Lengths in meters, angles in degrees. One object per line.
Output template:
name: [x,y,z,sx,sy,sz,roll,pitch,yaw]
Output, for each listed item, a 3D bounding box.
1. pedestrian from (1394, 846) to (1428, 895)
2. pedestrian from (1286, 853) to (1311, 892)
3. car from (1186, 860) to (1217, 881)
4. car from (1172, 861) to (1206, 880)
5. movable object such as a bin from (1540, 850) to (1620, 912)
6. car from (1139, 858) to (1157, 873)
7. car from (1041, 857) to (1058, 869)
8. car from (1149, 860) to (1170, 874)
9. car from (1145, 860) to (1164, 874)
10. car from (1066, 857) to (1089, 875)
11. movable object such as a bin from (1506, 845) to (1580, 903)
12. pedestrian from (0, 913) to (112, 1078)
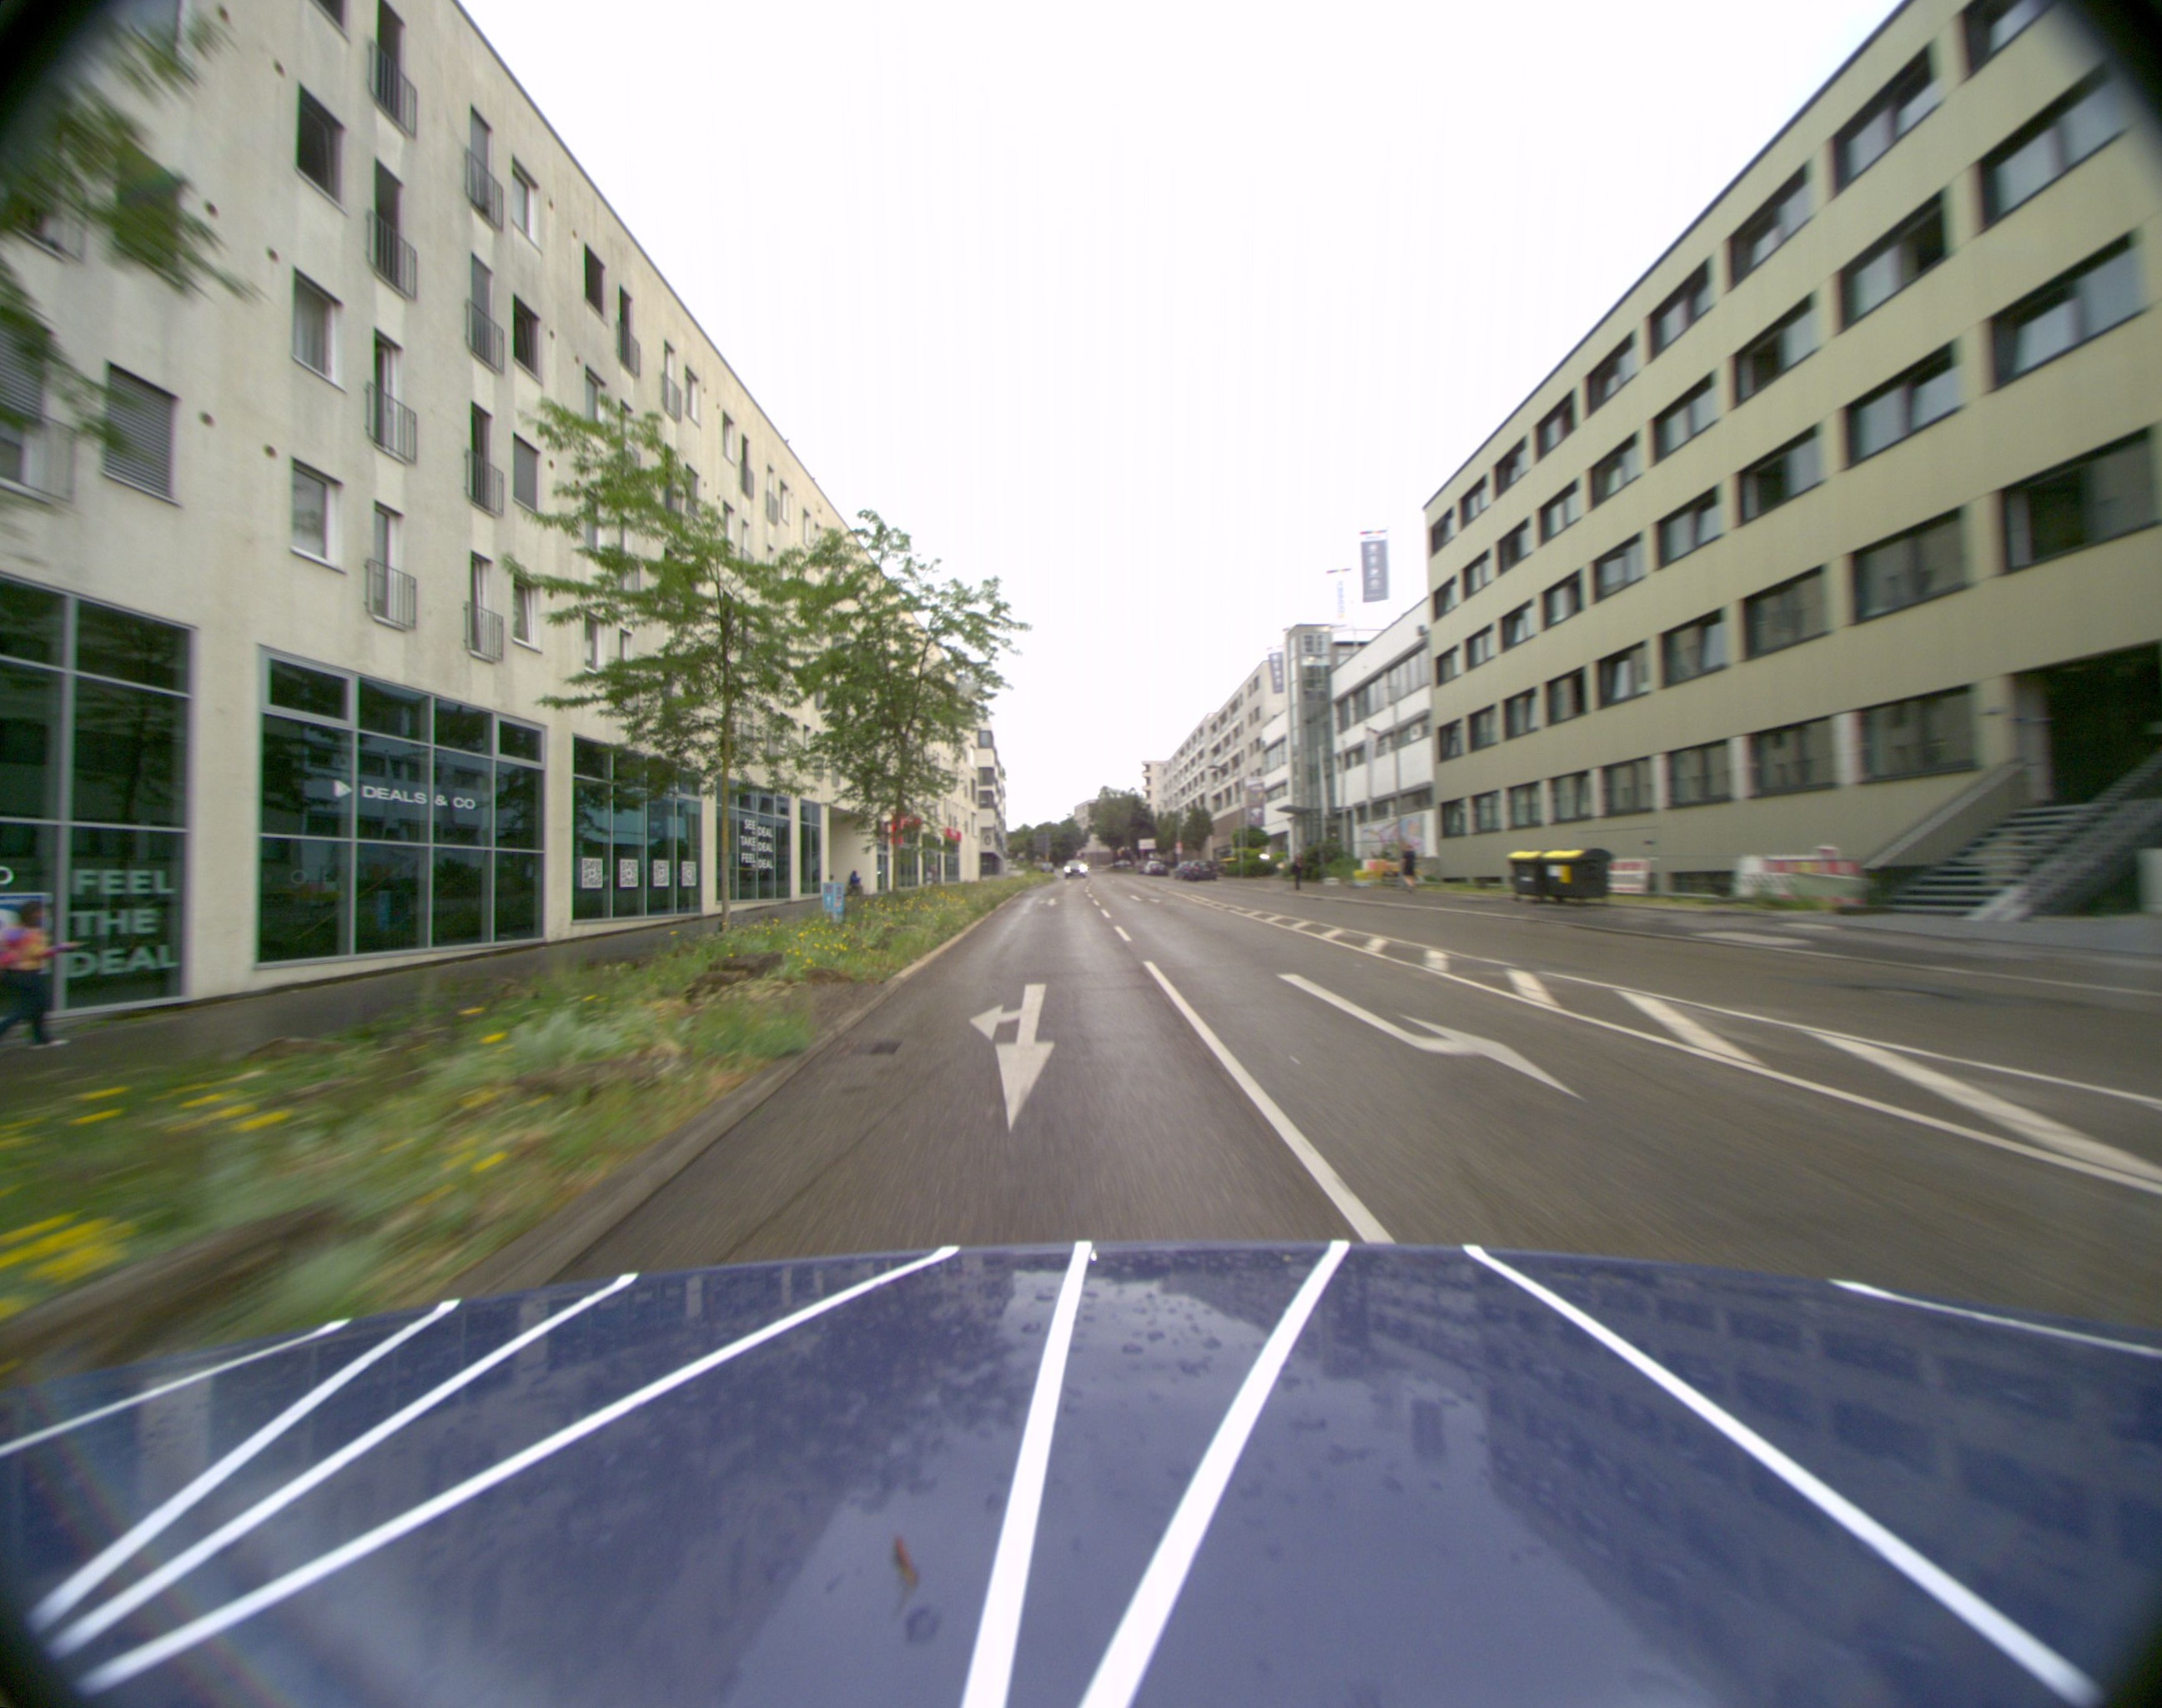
pedestrian: [11.937,0.578,27.499,0.757,1.722,0.942,-3,1,2]
pedestrian: [9.790,0.821,34.266,0.769,1.667,0.968,-3,0,0]
car: [8.797,1.187,55.476,1.519,1.501,2.980,1,0,-6]
car: [8.421,1.273,59.595,1.661,1.395,4.268,0,-1,-6]
movable object such as a bin: [12.503,0.665,19.103,1.056,1.437,1.358,-4,0,1]
car: [7.809,1.315,88.759,1.630,1.608,3.972,1,0,-1]
car: [-4.271,1.209,104.387,1.998,1.477,4.000,-3,0,1]
car: [8.142,1.359,79.077,1.662,1.383,3.739,1,0,-3]
car: [8.093,1.390,83.744,1.597,1.459,3.421,2,0,-2]
car: [-0.302,1.103,72.693,1.998,1.565,4.000,-3,0,1]
movable object such as a bin: [12.481,0.516,20.577,1.056,1.437,1.430,-4,0,1]
pedestrian: [-11.877,1.553,8.405,0.874,1.702,1.088,-3,-1,5]
